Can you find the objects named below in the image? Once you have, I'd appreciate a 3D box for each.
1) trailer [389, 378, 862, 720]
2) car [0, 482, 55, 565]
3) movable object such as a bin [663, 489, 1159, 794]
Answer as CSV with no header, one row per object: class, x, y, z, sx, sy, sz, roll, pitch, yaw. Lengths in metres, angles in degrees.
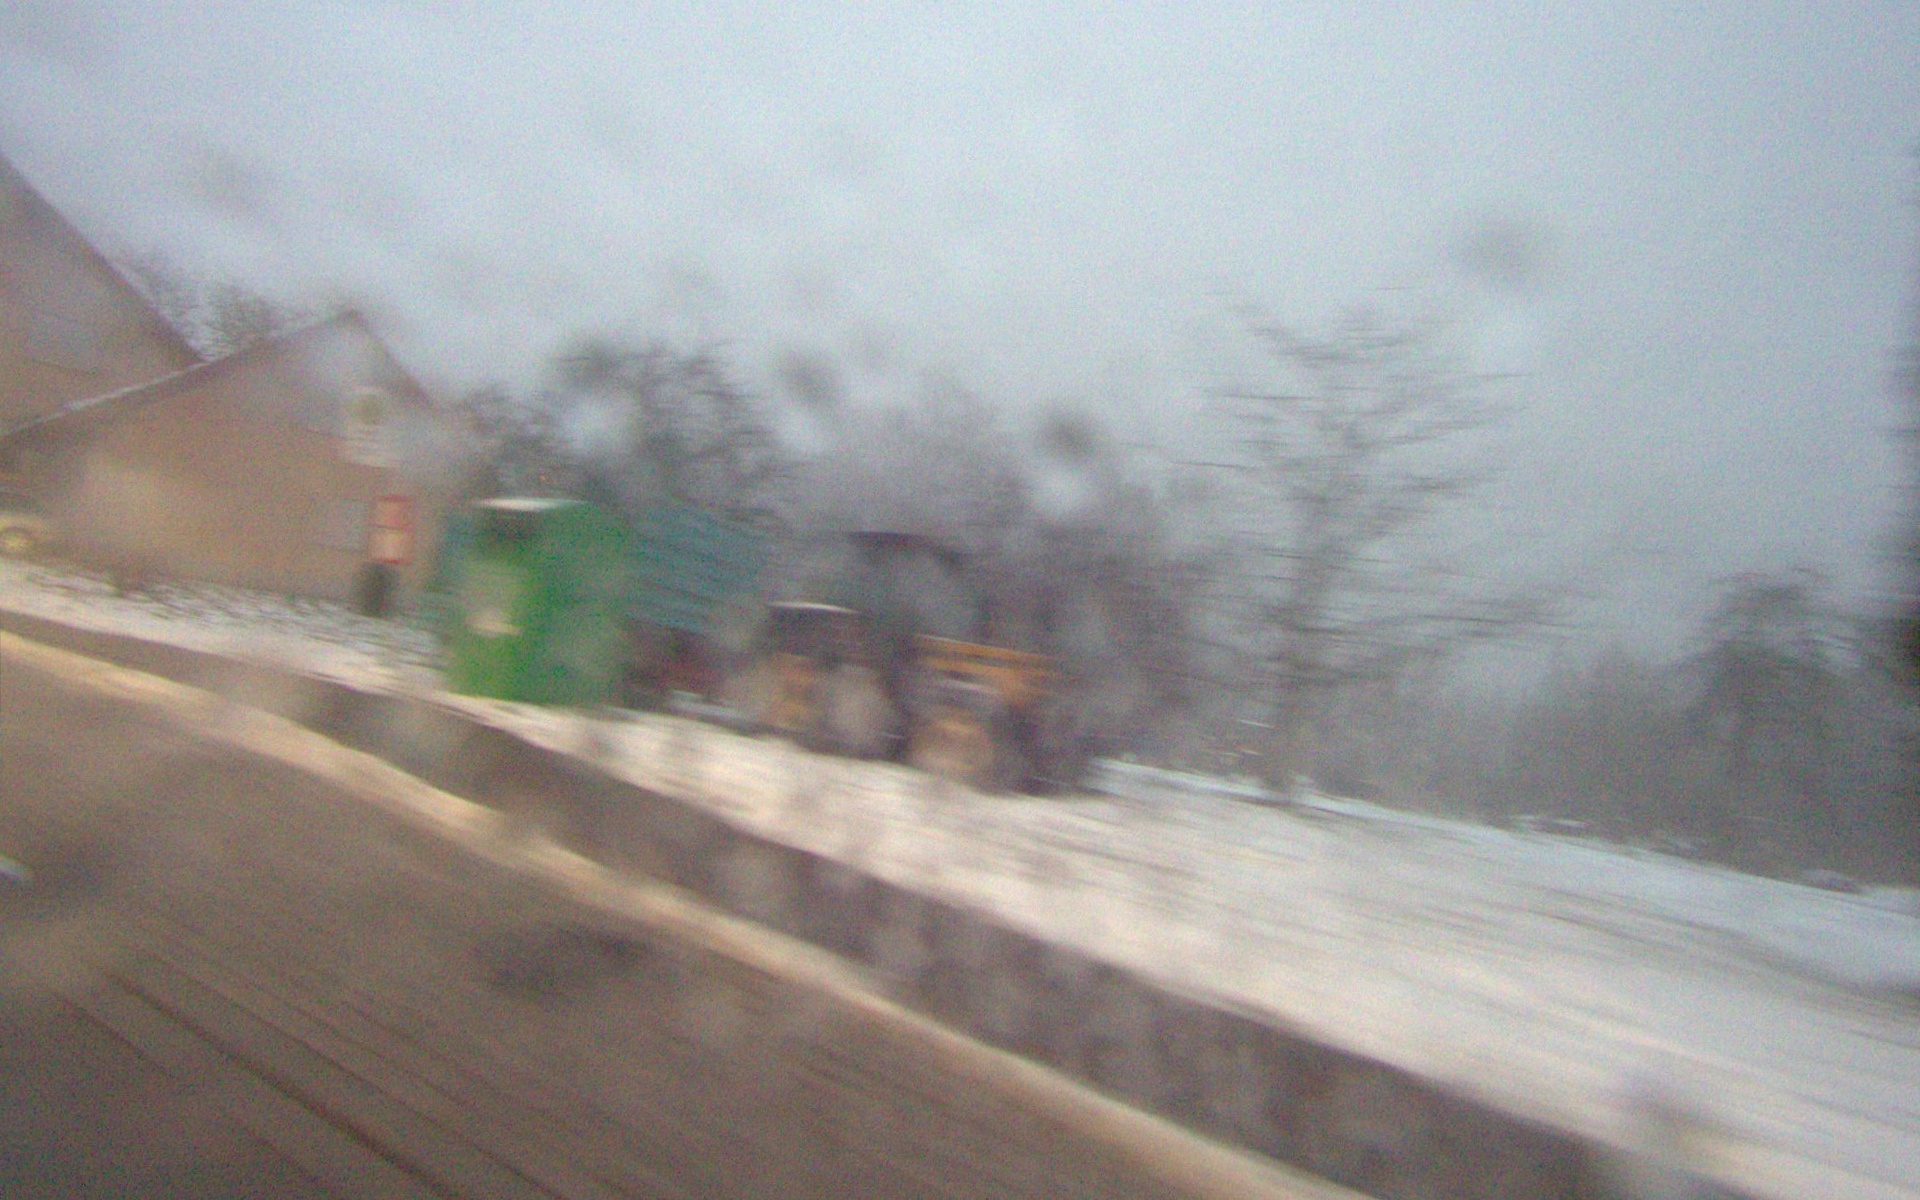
trailer,-4.315,-0.597,13.021,4.976,3.601,2.882,6,-2,30
car,-20.989,-1.736,19.918,1.972,1.577,4.239,3,-3,39
movable object such as a bin,-0.592,0.323,10.534,4.447,2.496,2.389,5,-3,36
